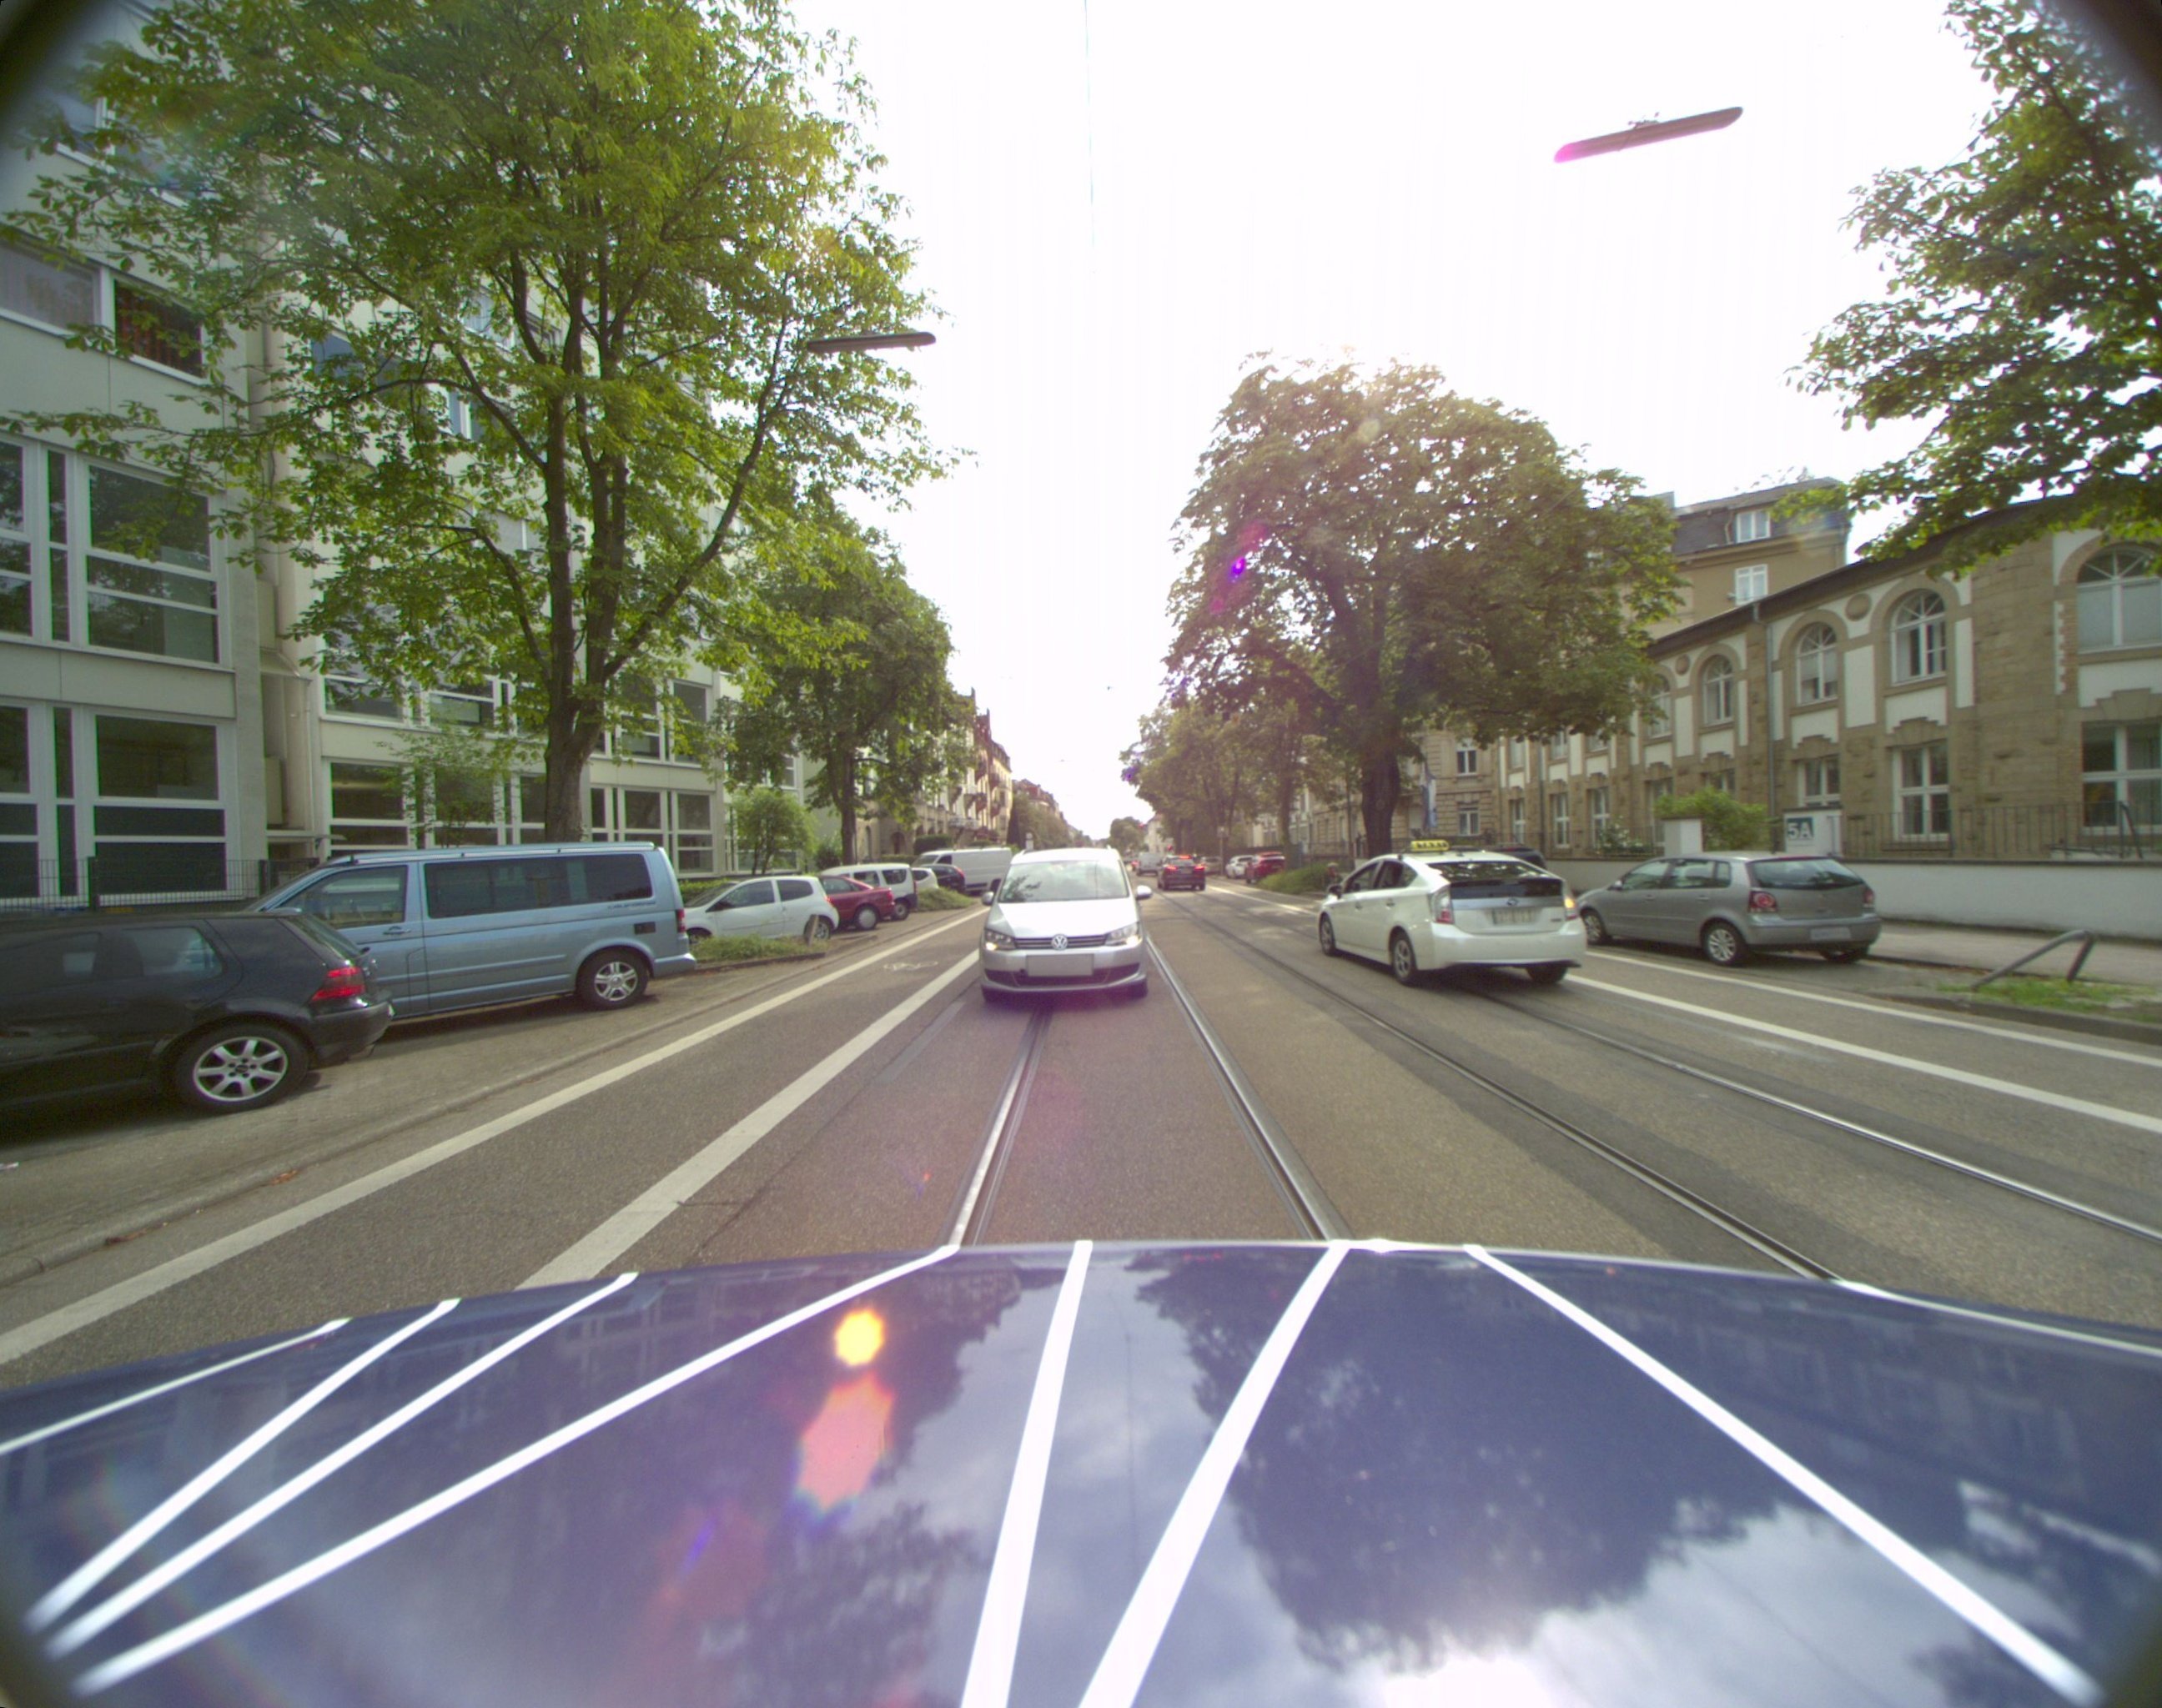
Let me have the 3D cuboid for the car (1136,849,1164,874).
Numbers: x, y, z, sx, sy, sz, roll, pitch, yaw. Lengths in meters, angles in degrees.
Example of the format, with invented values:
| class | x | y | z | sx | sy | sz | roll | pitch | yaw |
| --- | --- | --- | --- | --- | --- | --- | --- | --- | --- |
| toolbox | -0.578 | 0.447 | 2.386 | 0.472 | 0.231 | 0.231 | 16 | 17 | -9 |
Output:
| class | x | y | z | sx | sy | sz | roll | pitch | yaw |
| --- | --- | --- | --- | --- | --- | --- | --- | --- | --- |
| car | 5.365 | 0.544 | 59.496 | 1.799 | 1.813 | 4.678 | -2 | 0 | 1 |

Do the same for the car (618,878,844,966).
| class | x | y | z | sx | sy | sz | roll | pitch | yaw |
| --- | --- | --- | --- | --- | --- | --- | --- | --- | --- |
| car | -6.859 | 1.248 | 15.091 | 3.652 | 1.322 | 1.763 | -3 | 1 | -44 |

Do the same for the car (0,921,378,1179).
| class | x | y | z | sx | sy | sz | roll | pitch | yaw |
| --- | --- | --- | --- | --- | --- | --- | --- | --- | --- |
| car | -7.413 | 1.323 | 5.006 | 3.980 | 1.379 | 1.810 | -3 | -1 | -44 |

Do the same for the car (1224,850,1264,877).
| class | x | y | z | sx | sy | sz | roll | pitch | yaw |
| --- | --- | --- | --- | --- | --- | --- | --- | --- | --- |
| car | 10.398 | 0.589 | 48.701 | 1.659 | 1.592 | 3.906 | -2 | 0 | 1 |

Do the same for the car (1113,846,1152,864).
| class | x | y | z | sx | sy | sz | roll | pitch | yaw |
| --- | --- | --- | --- | --- | --- | --- | --- | --- | --- |
| car | 8.379 | 0.148 | 123.963 | 5.931 | 2.585 | 1.999 | -2 | 0 | -3 |

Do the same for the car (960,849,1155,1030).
| class | x | y | z | sx | sy | sz | roll | pitch | yaw |
| --- | --- | --- | --- | --- | --- | --- | --- | --- | --- |
| car | -0.195 | 0.826 | 9.645 | 1.816 | 1.691 | 4.617 | -2 | 0 | 1 |

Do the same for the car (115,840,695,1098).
| class | x | y | z | sx | sy | sz | roll | pitch | yaw |
| --- | --- | --- | --- | --- | --- | --- | --- | --- | --- |
| car | -6.996 | 0.938 | 8.452 | 4.354 | 2.052 | 1.994 | -2 | 0 | -45 |

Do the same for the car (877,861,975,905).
| class | x | y | z | sx | sy | sz | roll | pitch | yaw |
| --- | --- | --- | --- | --- | --- | --- | --- | --- | --- |
| car | -6.489 | 1.177 | 31.808 | 3.649 | 1.580 | 1.764 | -2 | 1 | -25 |

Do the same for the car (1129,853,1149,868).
| class | x | y | z | sx | sy | sz | roll | pitch | yaw |
| --- | --- | --- | --- | --- | --- | --- | --- | --- | --- |
| car | 6.178 | 0.646 | 81.595 | 1.786 | 1.506 | 4.144 | -2 | 0 | 1 |

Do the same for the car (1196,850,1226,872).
| class | x | y | z | sx | sy | sz | roll | pitch | yaw |
| --- | --- | --- | --- | --- | --- | --- | --- | --- | --- |
| car | 10.131 | 0.524 | 59.243 | 1.659 | 1.624 | 3.906 | -2 | 0 | 1 |

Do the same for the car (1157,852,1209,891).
| class | x | y | z | sx | sy | sz | roll | pitch | yaw |
| --- | --- | --- | --- | --- | --- | --- | --- | --- | --- |
| car | 4.630 | 0.762 | 35.166 | 1.852 | 1.603 | 4.334 | -2 | 0 | 1 |

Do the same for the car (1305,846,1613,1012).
| class | x | y | z | sx | sy | sz | roll | pitch | yaw |
| --- | --- | --- | --- | --- | --- | --- | --- | --- | --- |
| car | 4.360 | 0.736 | 9.642 | 1.736 | 1.603 | 4.334 | -1 | 0 | 0 |

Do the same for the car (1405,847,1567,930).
| class | x | y | z | sx | sy | sz | roll | pitch | yaw |
| --- | --- | --- | --- | --- | --- | --- | --- | --- | --- |
| car | 8.975 | 0.694 | 17.209 | 1.659 | 1.624 | 3.725 | -2 | 0 | 1 |

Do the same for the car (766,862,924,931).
| class | x | y | z | sx | sy | sz | roll | pitch | yaw |
| --- | --- | --- | --- | --- | --- | --- | --- | --- | --- |
| car | -6.553 | 1.117 | 21.308 | 3.777 | 1.609 | 1.809 | -2 | 1 | -40 |

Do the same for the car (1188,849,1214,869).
| class | x | y | z | sx | sy | sz | roll | pitch | yaw |
| --- | --- | --- | --- | --- | --- | --- | --- | --- | --- |
| car | 10.441 | 0.431 | 66.554 | 1.659 | 1.624 | 3.906 | -2 | 0 | 1 |

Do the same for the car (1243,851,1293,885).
| class | x | y | z | sx | sy | sz | roll | pitch | yaw |
| --- | --- | --- | --- | --- | --- | --- | --- | --- | --- |
| car | 9.745 | 0.697 | 39.943 | 1.659 | 1.624 | 3.906 | -2 | 0 | 1 |

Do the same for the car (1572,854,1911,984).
| class | x | y | z | sx | sy | sz | roll | pitch | yaw |
| --- | --- | --- | --- | --- | --- | --- | --- | --- | --- |
| car | 8.827 | 0.752 | 10.621 | 1.632 | 1.456 | 3.574 | -2 | 0 | 1 |

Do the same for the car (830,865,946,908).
| class | x | y | z | sx | sy | sz | roll | pitch | yaw |
| --- | --- | --- | --- | --- | --- | --- | --- | --- | --- |
| car | -6.982 | 1.147 | 27.676 | 3.652 | 1.322 | 1.763 | -3 | 1 | -44 |

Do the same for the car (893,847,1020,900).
| class | x | y | z | sx | sy | sz | roll | pitch | yaw |
| --- | --- | --- | --- | --- | --- | --- | --- | --- | --- |
| car | -5.731 | 0.830 | 35.488 | 5.449 | 2.163 | 2.142 | -2 | 1 | -40 |

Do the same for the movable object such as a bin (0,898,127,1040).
| class | x | y | z | sx | sy | sz | roll | pitch | yaw |
| --- | --- | --- | --- | --- | --- | --- | --- | --- | --- |
| movable object such as a bin | -12.216 | 1.283 | 8.484 | 1.334 | 1.450 | 1.400 | -2 | 0 | 5 |

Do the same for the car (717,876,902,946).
| class | x | y | z | sx | sy | sz | roll | pitch | yaw |
| --- | --- | --- | --- | --- | --- | --- | --- | --- | --- |
| car | -6.516 | 1.288 | 18.390 | 3.777 | 1.331 | 1.809 | -2 | 1 | -40 |
